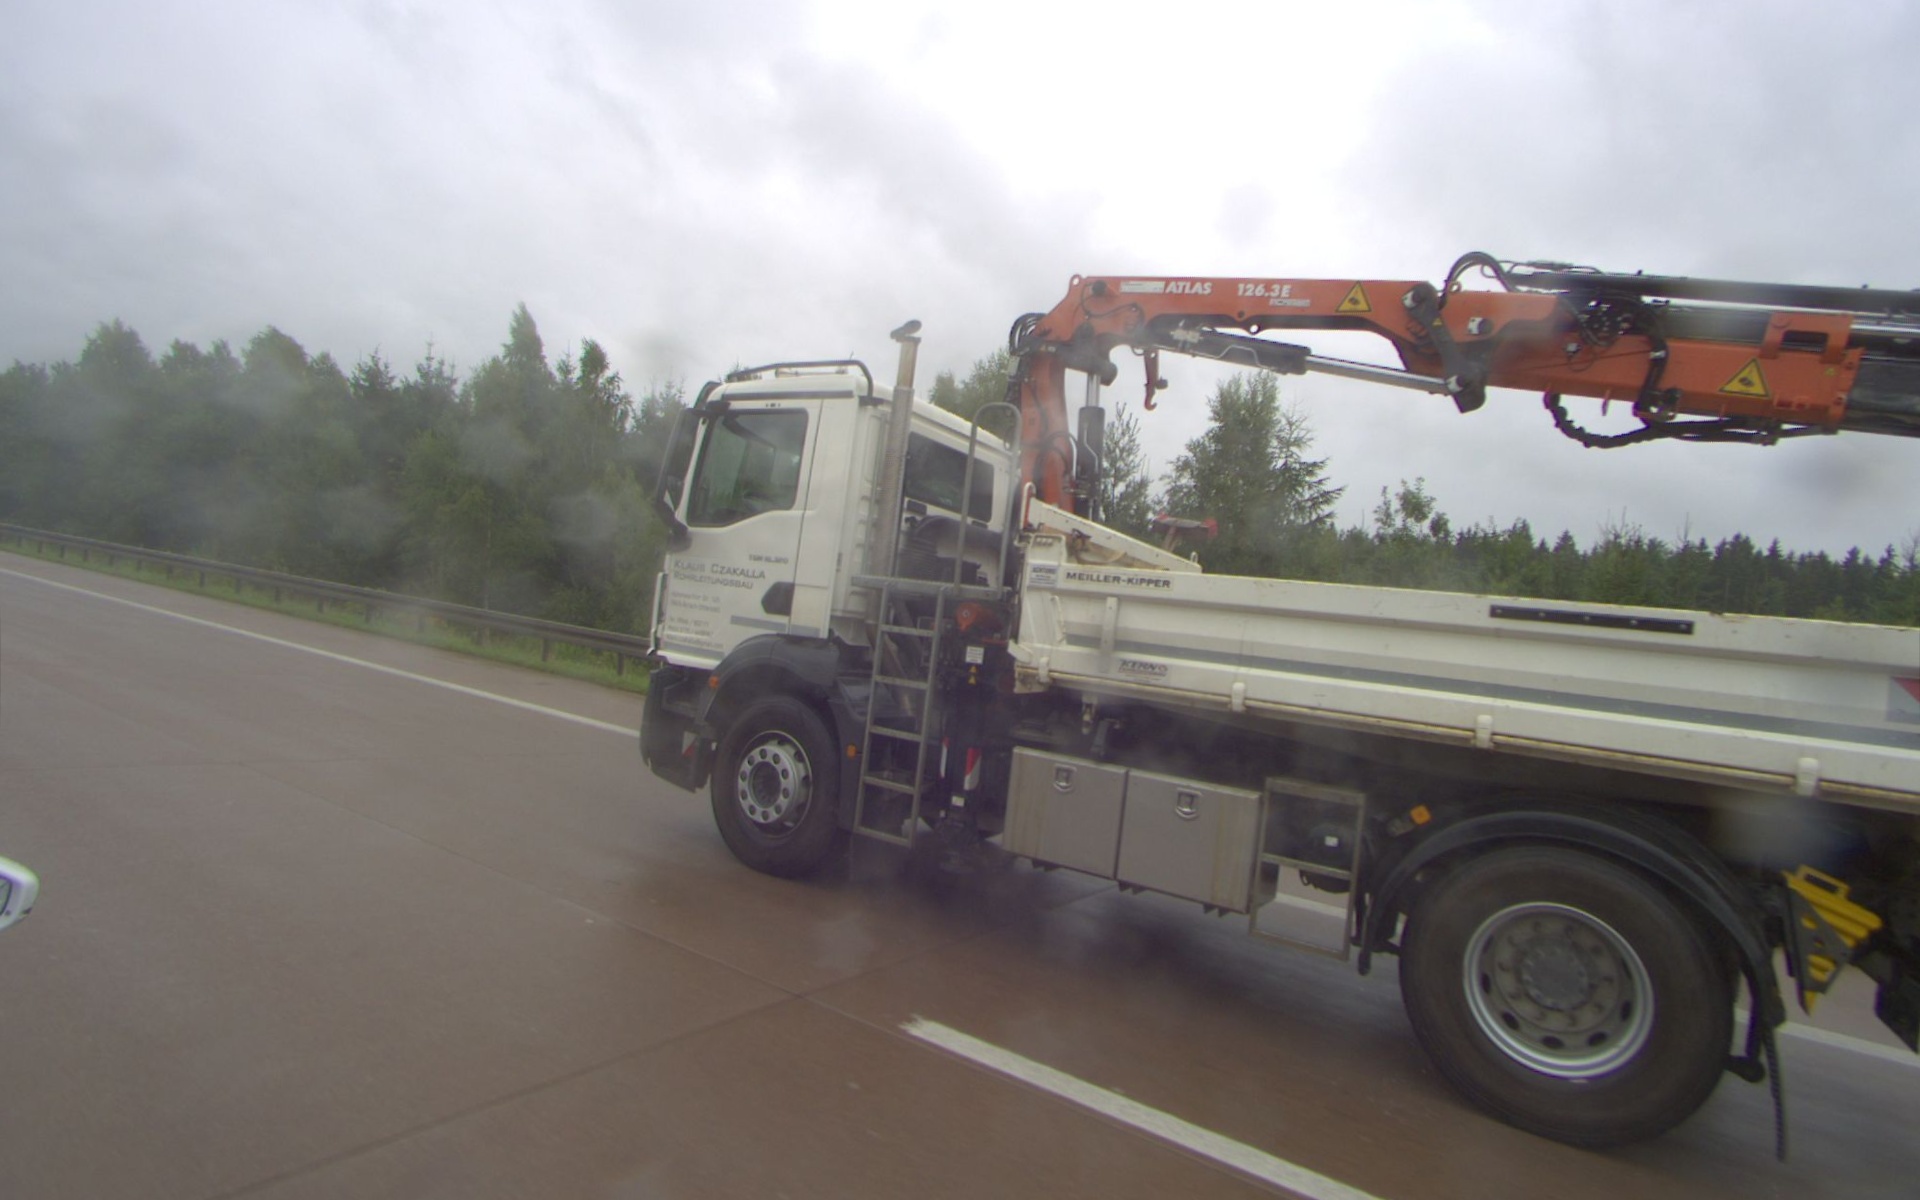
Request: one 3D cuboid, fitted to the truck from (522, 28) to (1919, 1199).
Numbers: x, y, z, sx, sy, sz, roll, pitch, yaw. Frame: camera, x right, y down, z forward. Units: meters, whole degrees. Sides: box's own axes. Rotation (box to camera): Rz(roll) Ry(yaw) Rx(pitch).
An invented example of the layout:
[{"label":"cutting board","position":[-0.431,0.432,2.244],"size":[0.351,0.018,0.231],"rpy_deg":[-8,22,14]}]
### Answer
[{"label":"truck","position":[1.455,-0.028,5.954],"size":[7.824,3.773,3.240],"rpy_deg":[7,-2,32]}]
